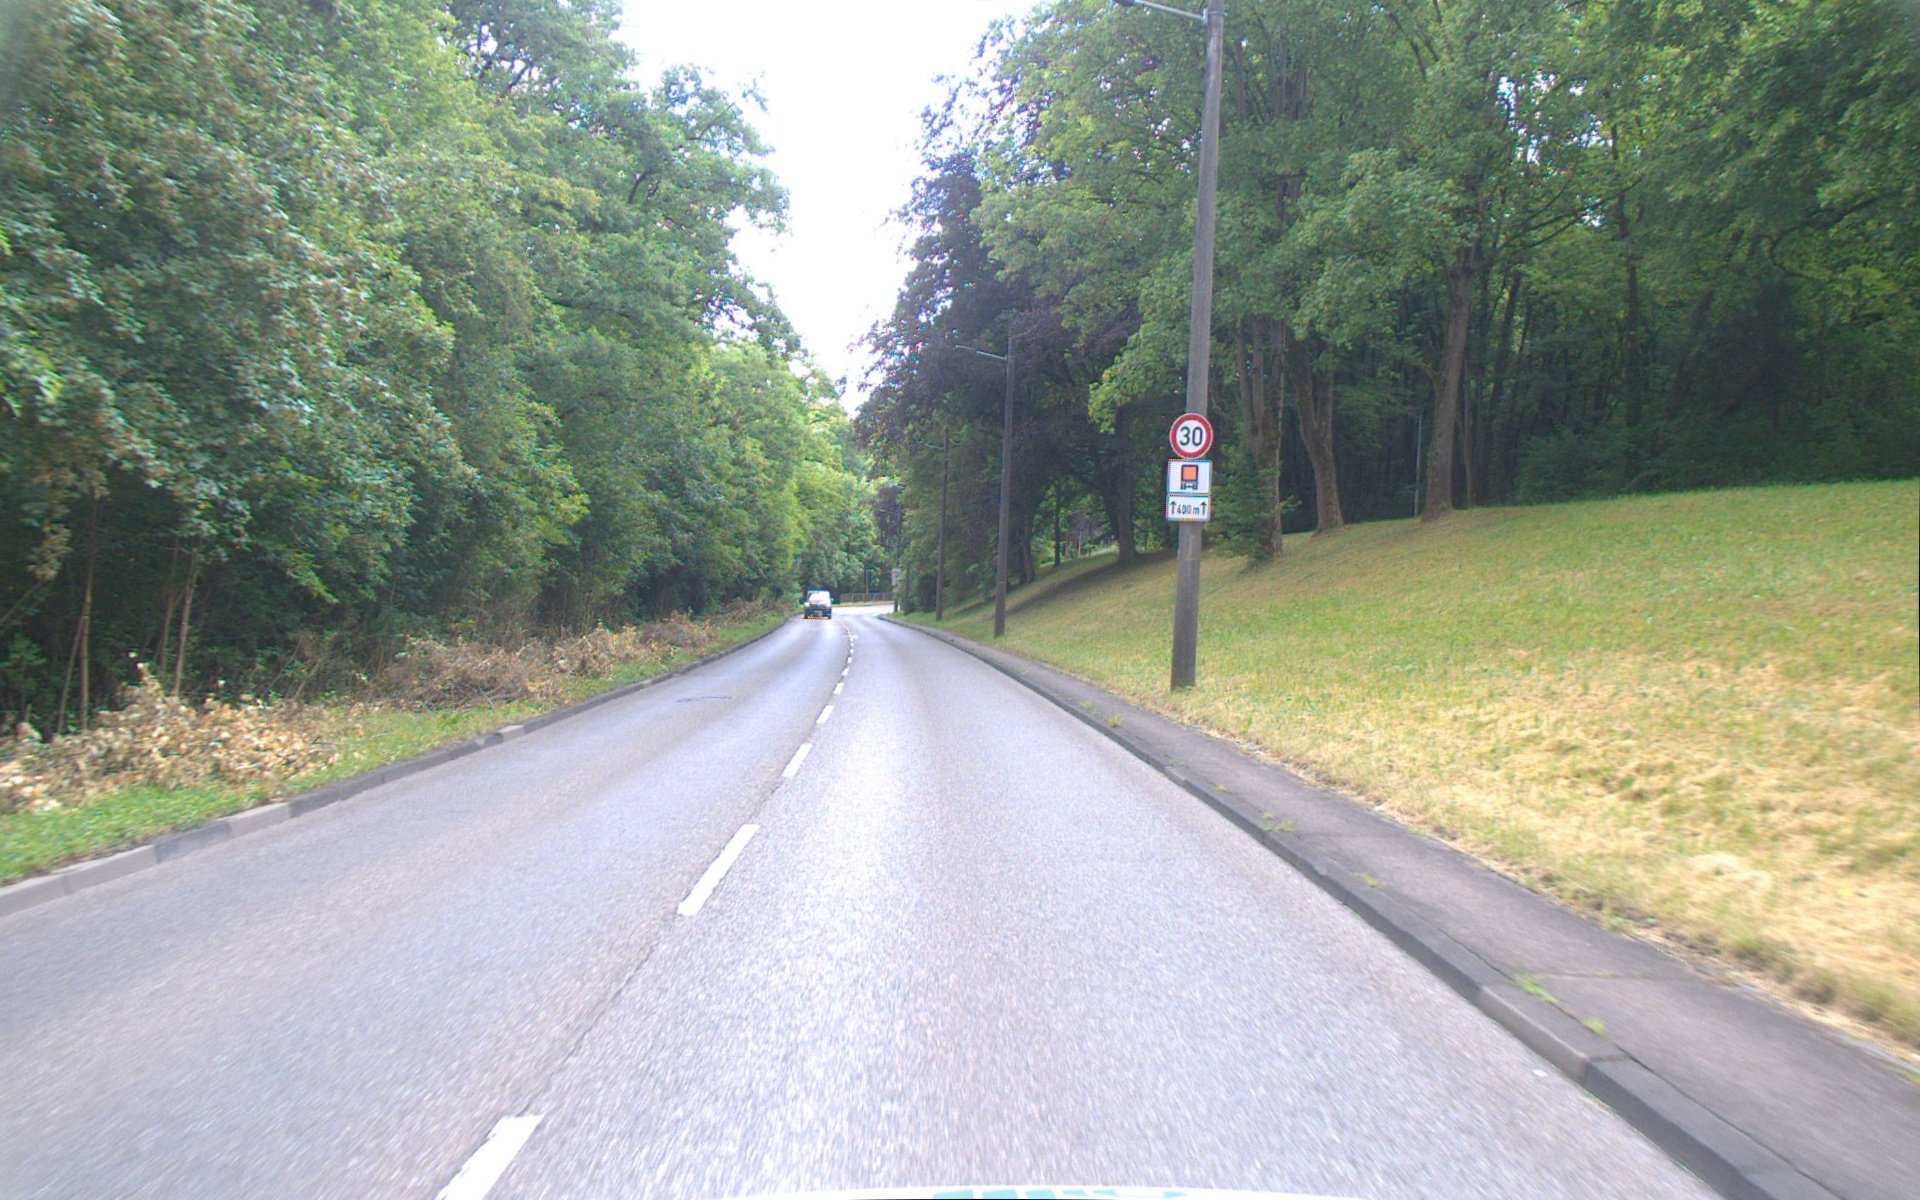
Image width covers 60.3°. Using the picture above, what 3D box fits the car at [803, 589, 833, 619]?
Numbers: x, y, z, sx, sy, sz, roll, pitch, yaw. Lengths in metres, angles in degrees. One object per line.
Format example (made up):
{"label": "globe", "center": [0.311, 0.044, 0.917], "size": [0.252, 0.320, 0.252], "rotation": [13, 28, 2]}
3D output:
{"label": "car", "center": [-9.757, 0.300, 114.125], "size": [1.954, 1.982, 4.941], "rotation": [1, -1, -4]}
